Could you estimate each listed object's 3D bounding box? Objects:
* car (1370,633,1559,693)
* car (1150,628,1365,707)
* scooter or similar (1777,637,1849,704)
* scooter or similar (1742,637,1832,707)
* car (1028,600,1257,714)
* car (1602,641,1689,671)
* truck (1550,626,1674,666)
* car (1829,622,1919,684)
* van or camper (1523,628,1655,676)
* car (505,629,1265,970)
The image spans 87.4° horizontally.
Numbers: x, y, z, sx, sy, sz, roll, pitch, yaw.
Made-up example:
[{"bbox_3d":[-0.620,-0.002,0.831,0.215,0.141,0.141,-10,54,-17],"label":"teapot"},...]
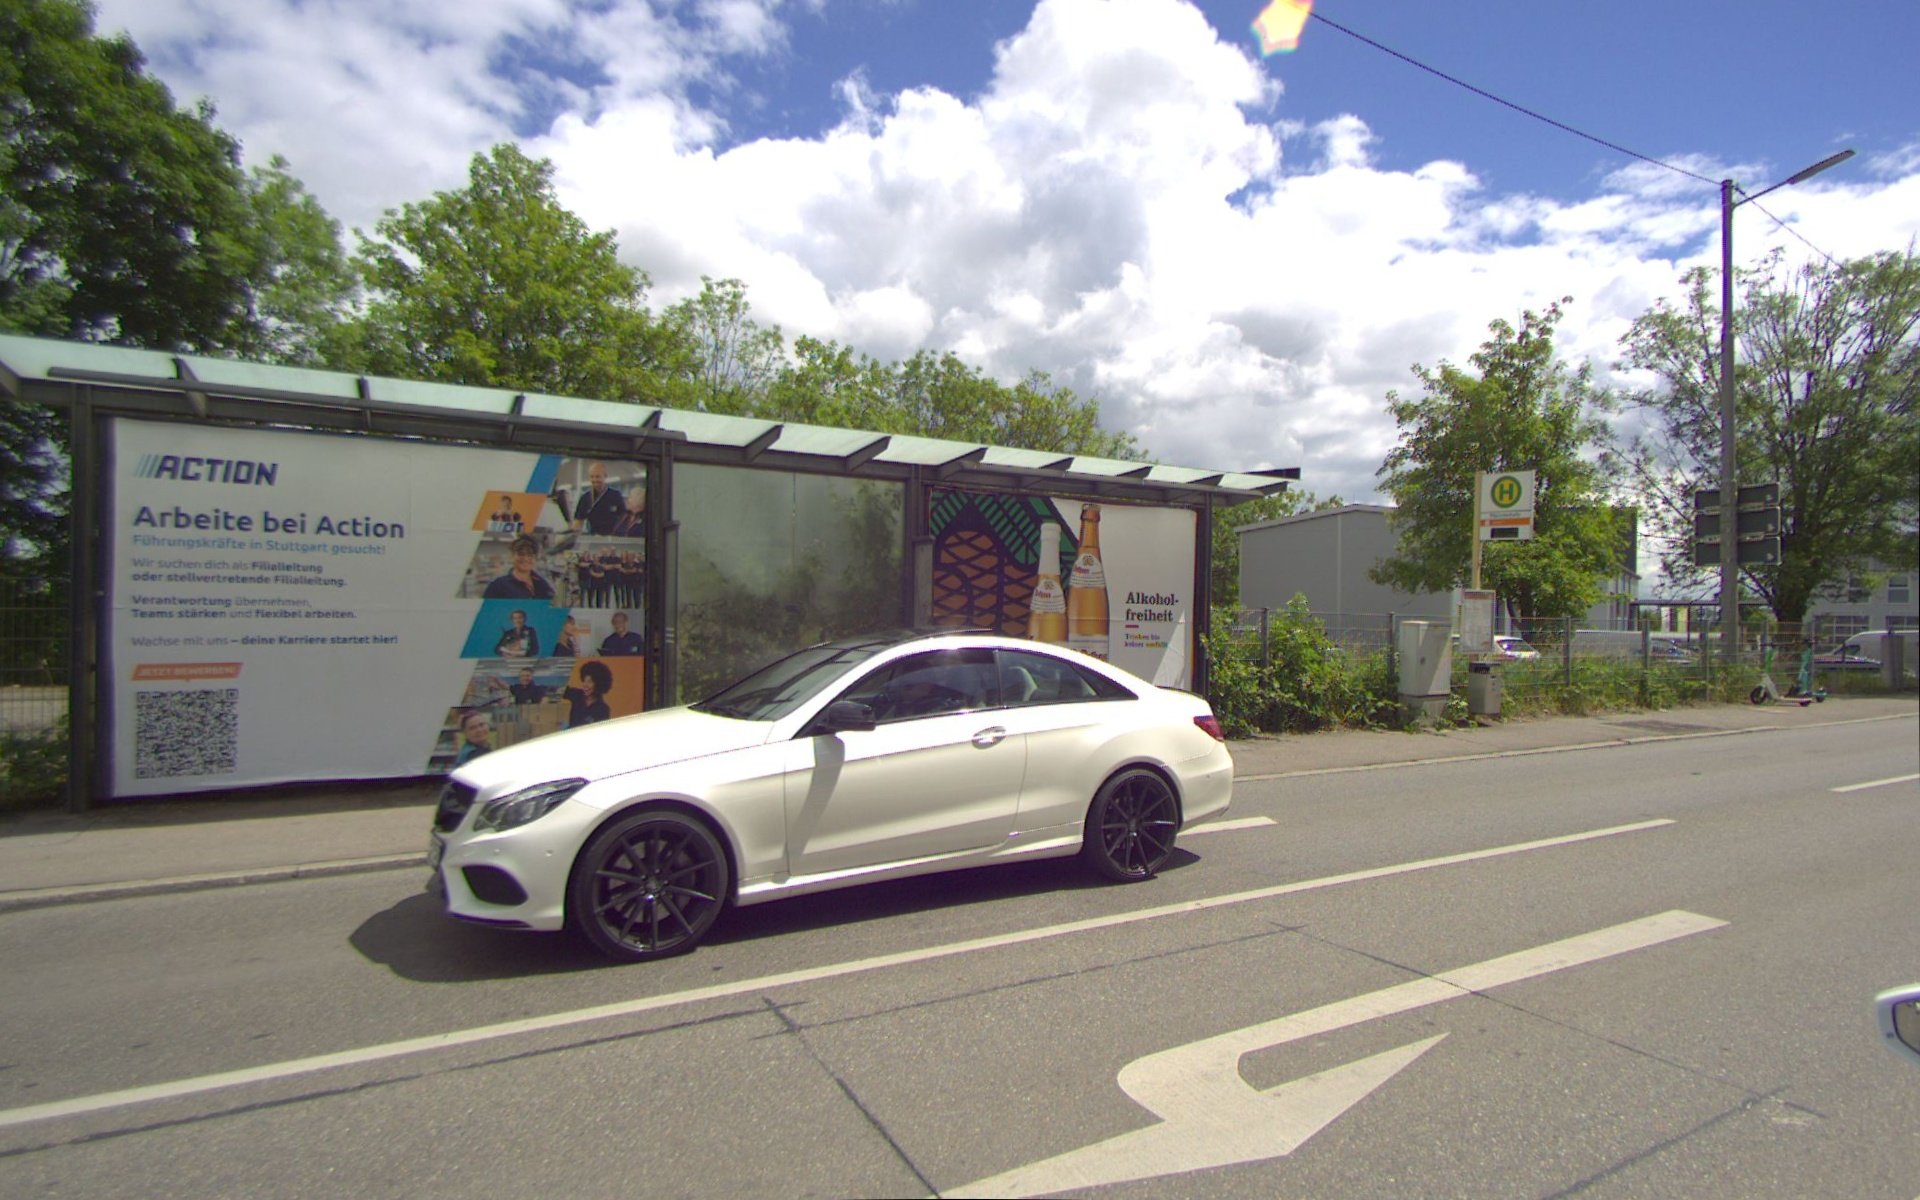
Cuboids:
[{"bbox_3d":[13.294,1.614,26.744,1.841,1.399,4.263,2,-2,-26],"label":"car"},{"bbox_3d":[6.440,1.408,22.150,1.894,1.506,4.243,2,-2,-38],"label":"car"},{"bbox_3d":[17.018,1.388,20.035,1.452,1.283,0.533,1,1,-26],"label":"scooter or similar"},{"bbox_3d":[15.799,1.365,19.186,1.446,1.279,0.535,1,1,-14],"label":"scooter or similar"},{"bbox_3d":[3.564,1.073,20.305,2.122,2.040,4.245,2,-2,-37],"label":"car"},{"bbox_3d":[40.404,3.304,59.244,4.173,1.516,1.922,1,-2,37],"label":"car"},{"bbox_3d":[40.556,2.861,62.565,6.217,2.258,2.691,0,-3,39],"label":"truck"},{"bbox_3d":[32.989,1.825,34.667,2.175,2.040,4.136,1,0,-33],"label":"car"},{"bbox_3d":[34.077,2.756,54.530,5.814,2.386,2.491,0,-1,41],"label":"van or camper"},{"bbox_3d":[-0.342,0.879,5.986,4.175,1.395,1.788,1,-2,-30],"label":"car"}]
